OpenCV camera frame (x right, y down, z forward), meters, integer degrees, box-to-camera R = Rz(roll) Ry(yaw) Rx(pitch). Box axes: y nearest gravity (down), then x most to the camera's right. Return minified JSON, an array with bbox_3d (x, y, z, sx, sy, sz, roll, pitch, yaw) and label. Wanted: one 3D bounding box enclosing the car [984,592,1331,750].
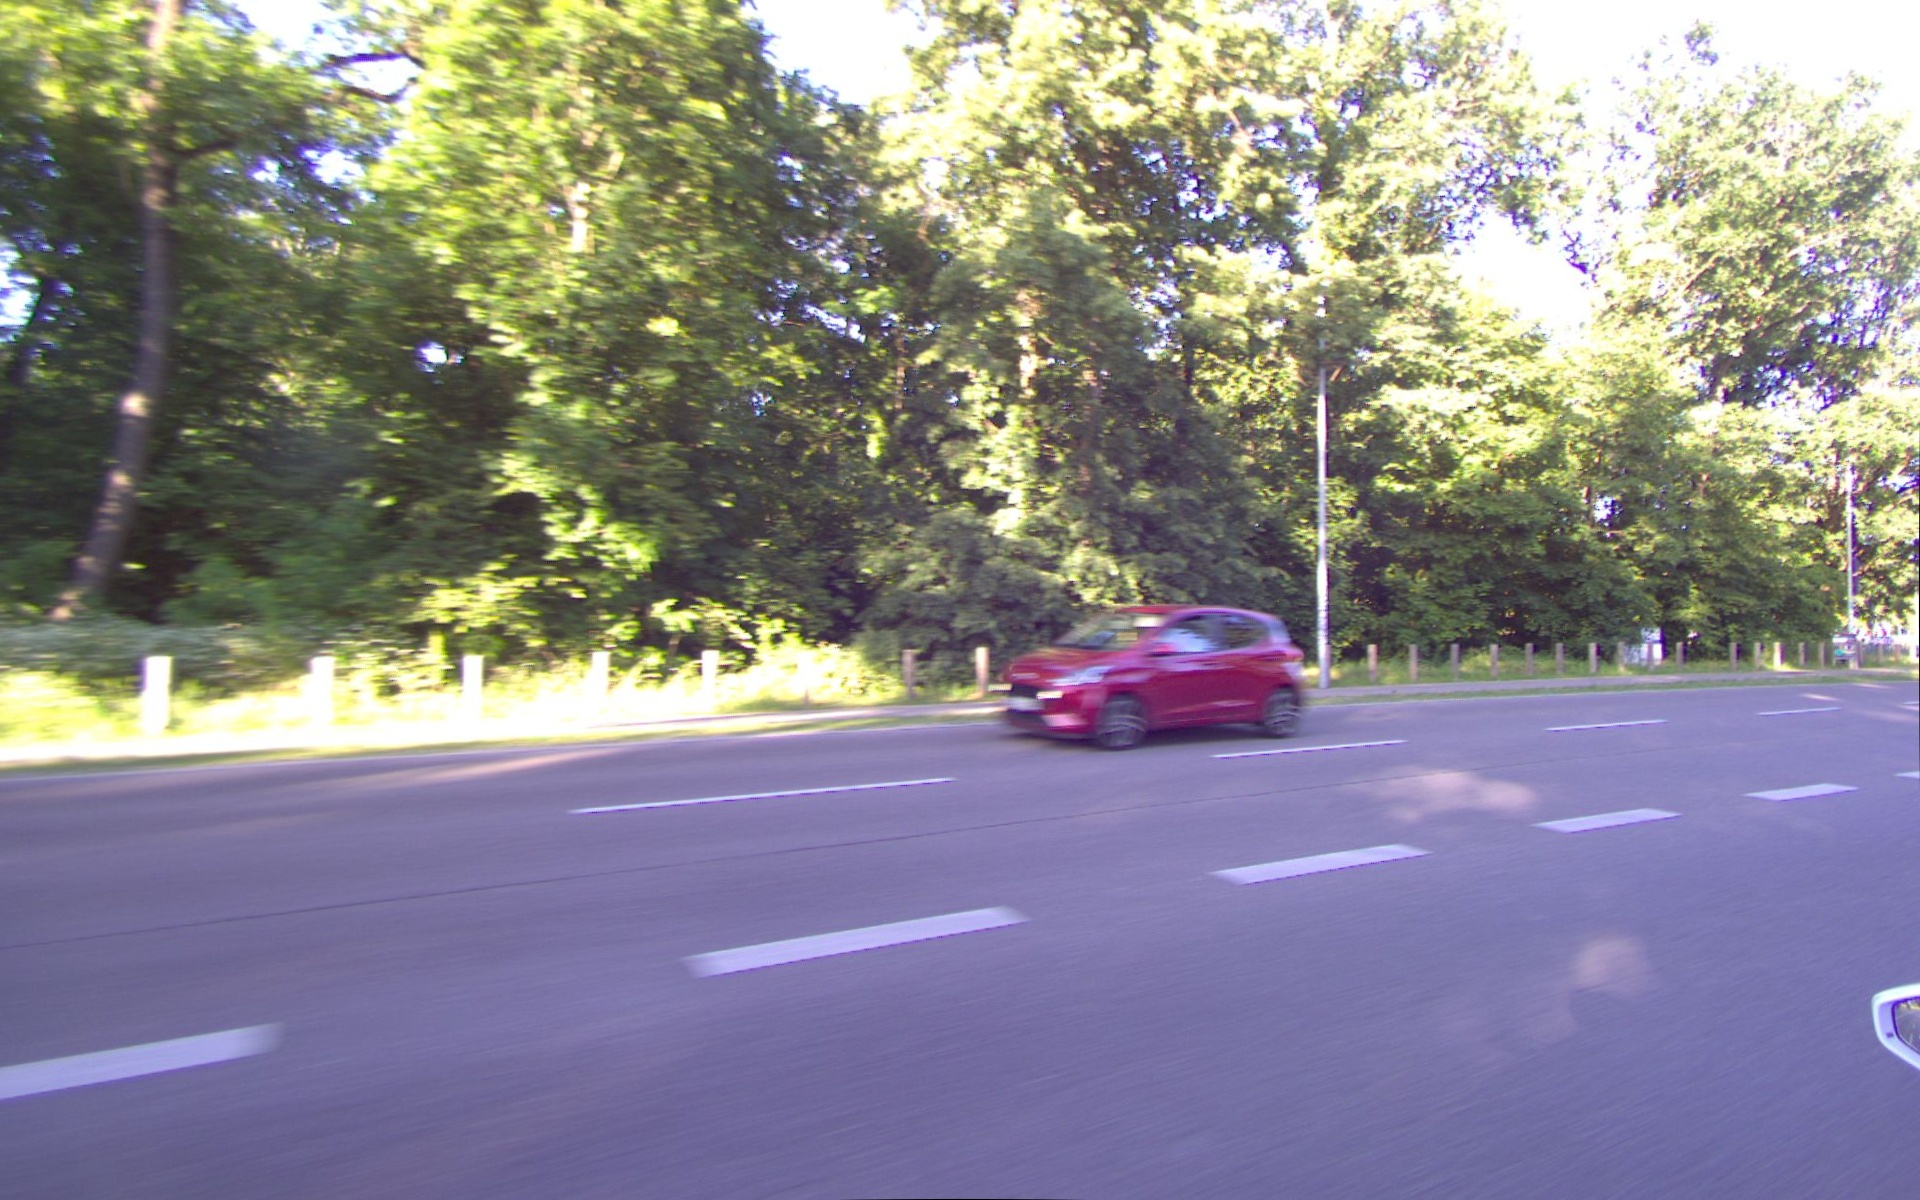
[{"bbox_3d":[2.296,0.734,11.454,3.763,1.538,1.655,1,-1,-31],"label":"car"}]
